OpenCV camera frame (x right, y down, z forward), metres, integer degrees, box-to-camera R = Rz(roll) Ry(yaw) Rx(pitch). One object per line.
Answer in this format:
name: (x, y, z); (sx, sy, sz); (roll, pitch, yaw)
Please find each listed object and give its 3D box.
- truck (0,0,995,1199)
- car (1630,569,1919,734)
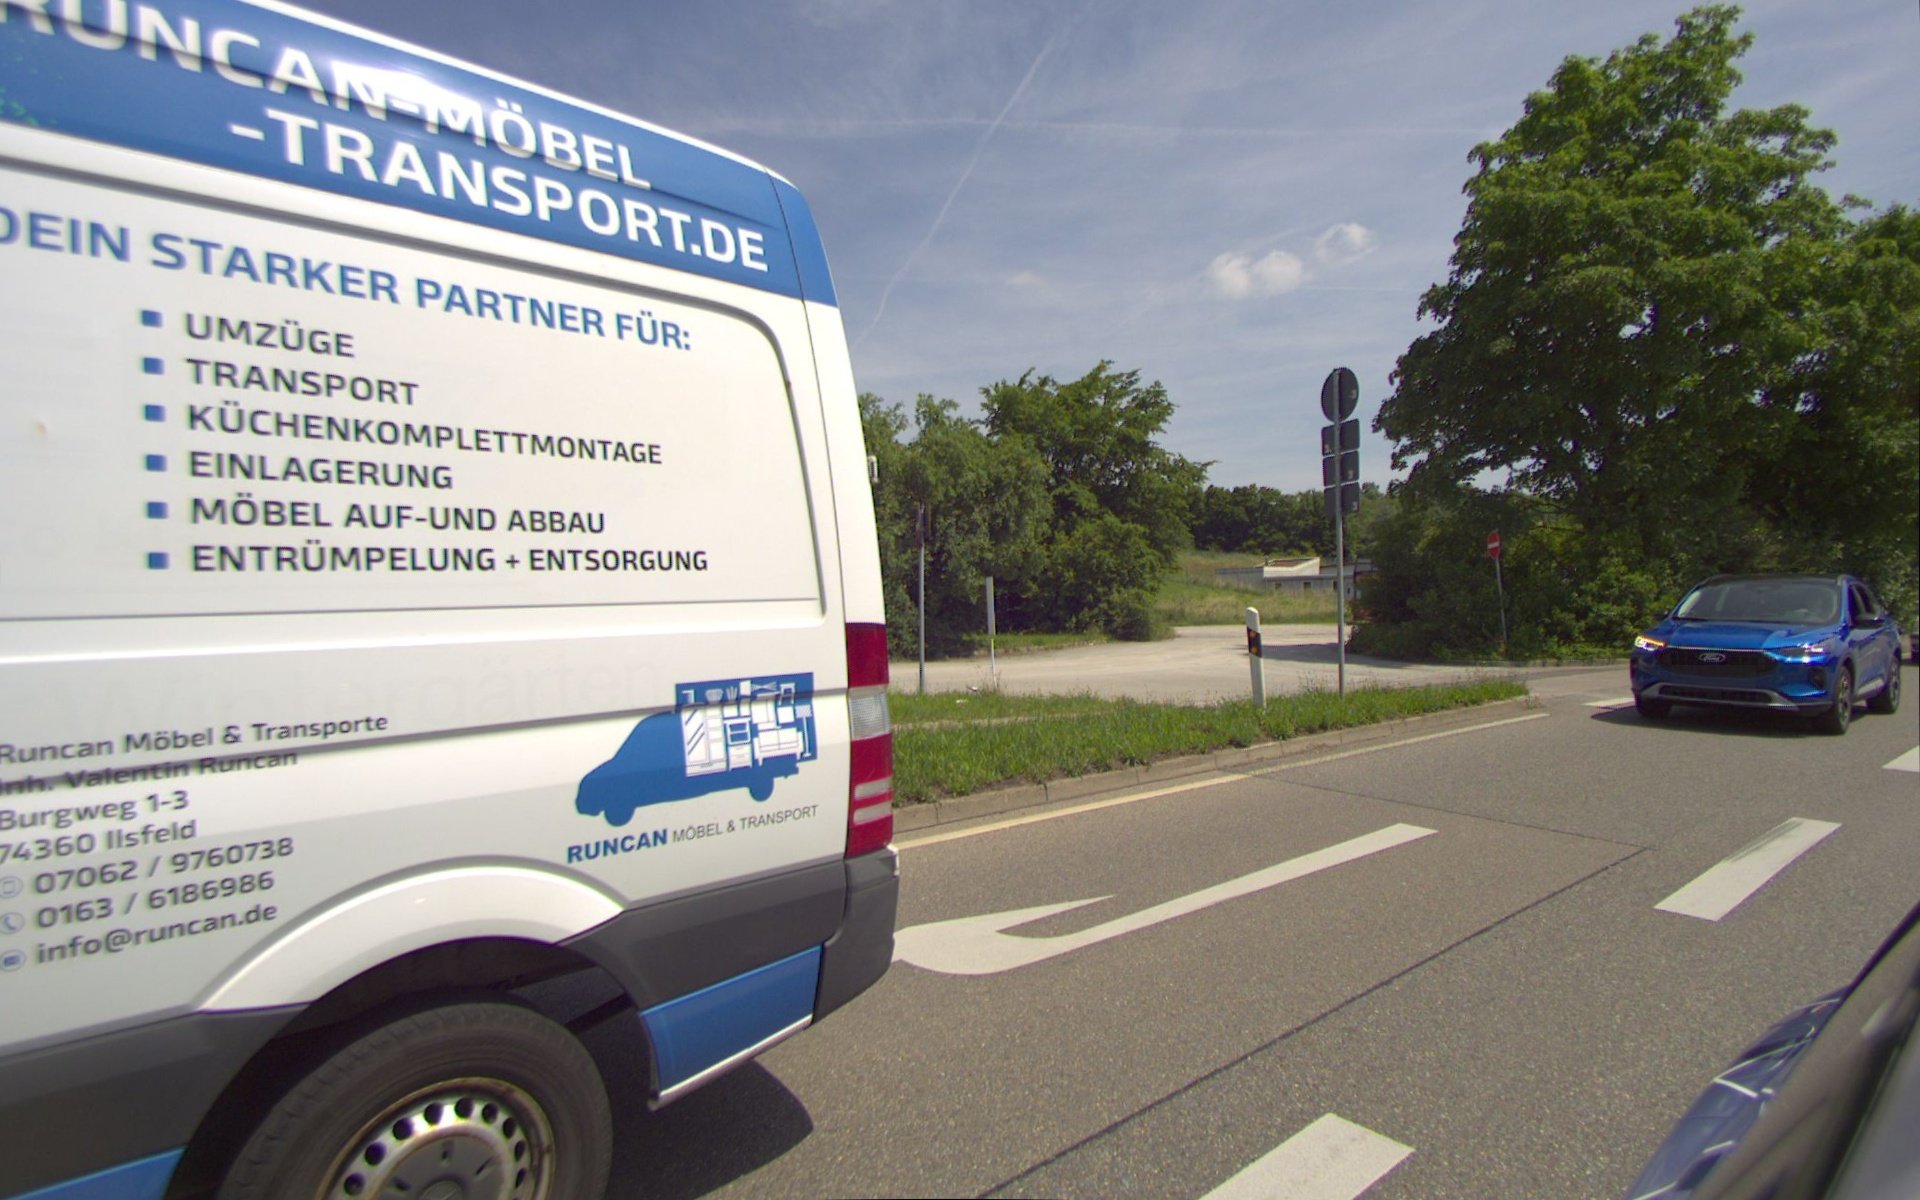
truck: (-2.784, 0.029, 1.582); (5.839, 2.771, 2.070); (-1, 1, -41)
car: (9.562, 0.440, 11.713); (4.309, 1.578, 1.783); (-1, 1, -39)
